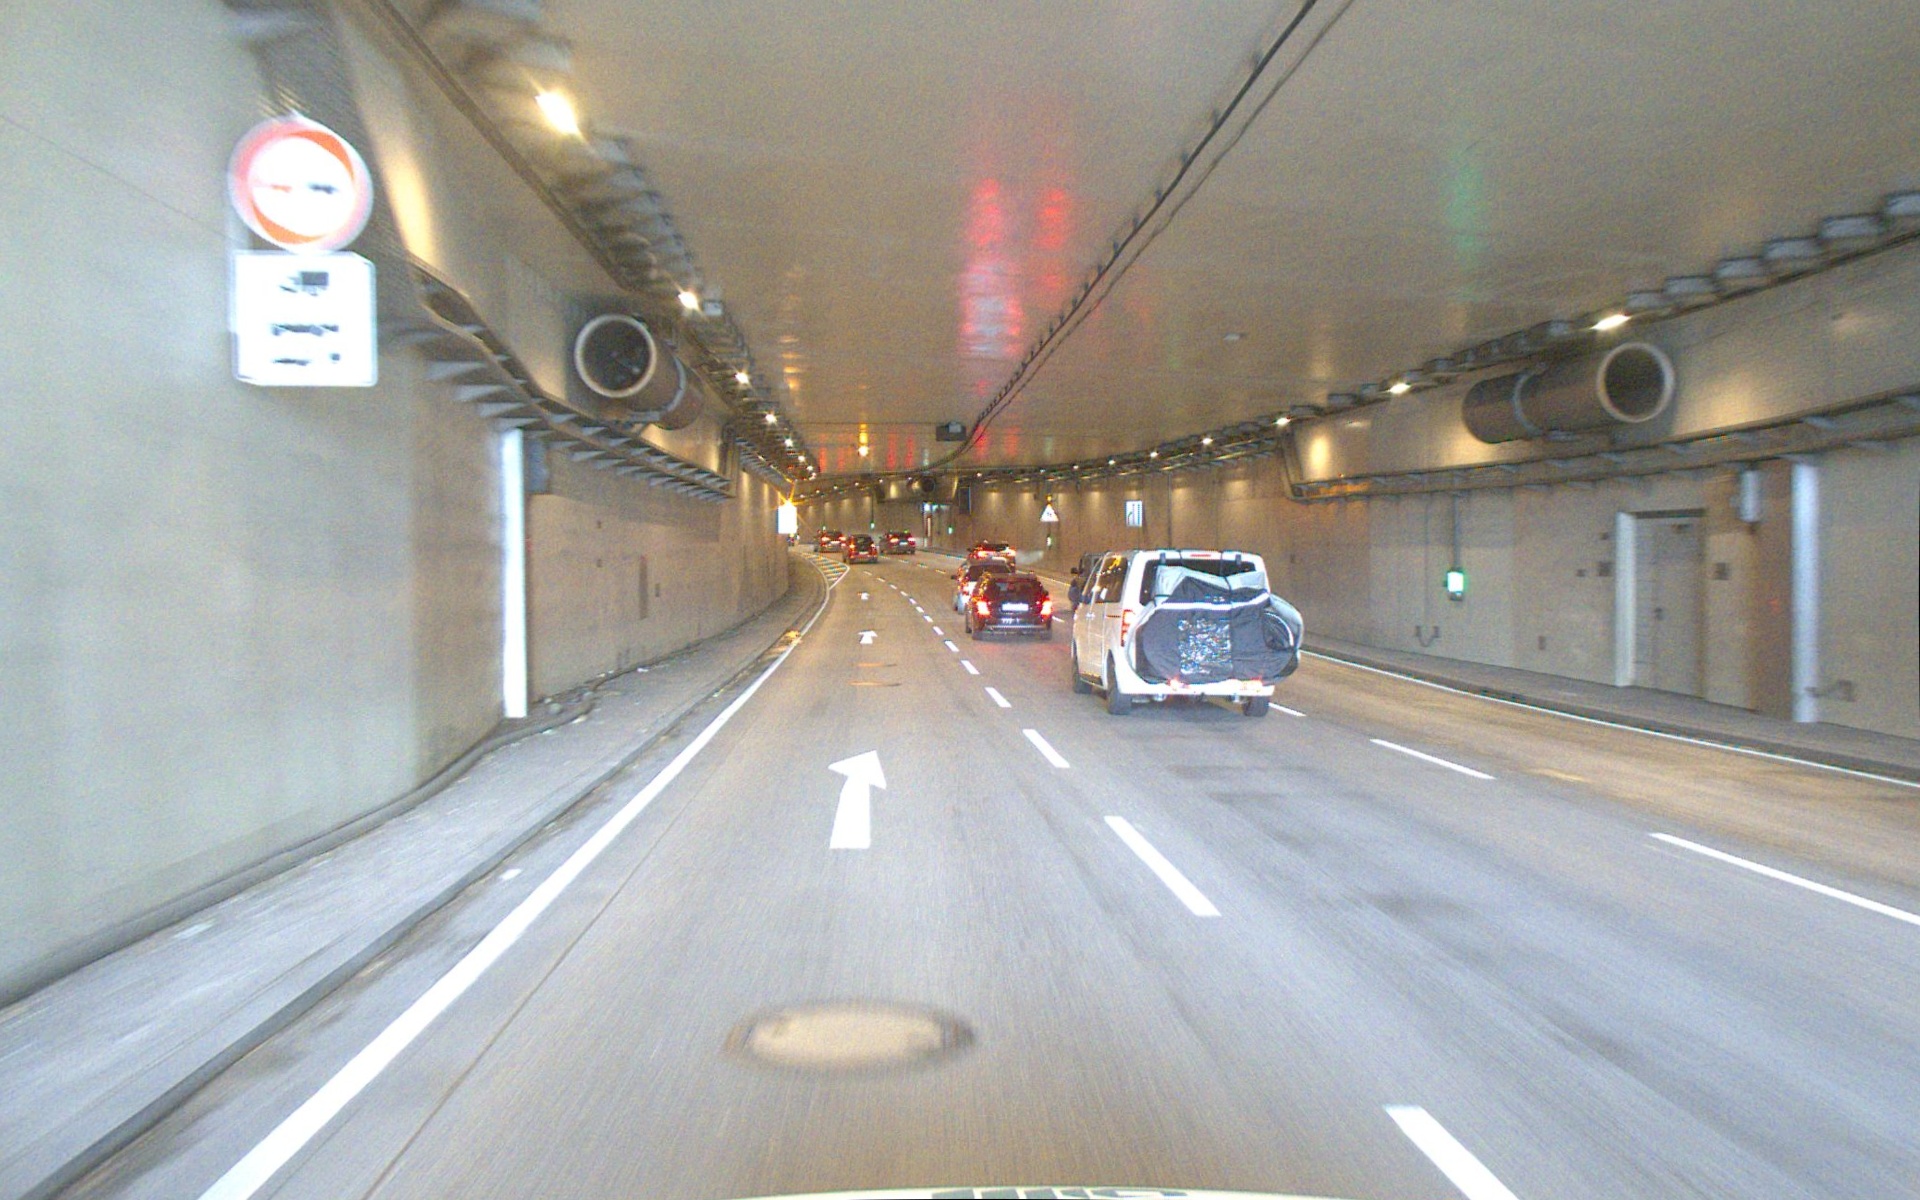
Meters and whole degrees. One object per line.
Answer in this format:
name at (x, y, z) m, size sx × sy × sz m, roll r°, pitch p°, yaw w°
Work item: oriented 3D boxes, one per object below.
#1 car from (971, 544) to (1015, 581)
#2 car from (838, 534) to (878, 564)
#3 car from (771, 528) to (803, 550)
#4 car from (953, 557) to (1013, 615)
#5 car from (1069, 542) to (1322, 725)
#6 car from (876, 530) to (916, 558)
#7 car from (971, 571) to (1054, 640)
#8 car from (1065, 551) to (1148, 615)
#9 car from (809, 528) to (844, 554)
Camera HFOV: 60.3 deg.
car at (1.471, -1.701, 75.396) m, size 1.572 × 1.658 × 3.351 m, roll 0°, pitch 1°, yaw -6°
car at (-5.720, -2.828, 92.438) m, size 1.790 × 1.658 × 3.833 m, roll 0°, pitch 1°, yaw -11°
car at (-13.808, -4.828, 131.953) m, size 1.794 × 1.658 × 3.825 m, roll 0°, pitch 1°, yaw -17°
car at (0.642, -0.436, 48.505) m, size 1.570 × 1.621 × 3.355 m, roll 0°, pitch 1°, yaw -2°
car at (2.629, 0.310, 19.858) m, size 1.954 × 1.879 × 5.298 m, roll 1°, pitch 1°, yaw -4°
car at (-3.982, -3.475, 102.718) m, size 1.791 × 1.658 × 3.831 m, roll 0°, pitch 1°, yaw -13°
car at (1.105, 0.088, 35.995) m, size 1.570 × 1.419 × 3.276 m, roll 0°, pitch 1°, yaw -2°
car at (4.242, -0.502, 48.460) m, size 1.835 × 1.792 × 3.997 m, roll 1°, pitch 1°, yaw -4°
car at (-8.794, -3.844, 108.902) m, size 1.791 × 1.658 × 3.831 m, roll 0°, pitch 1°, yaw -13°
